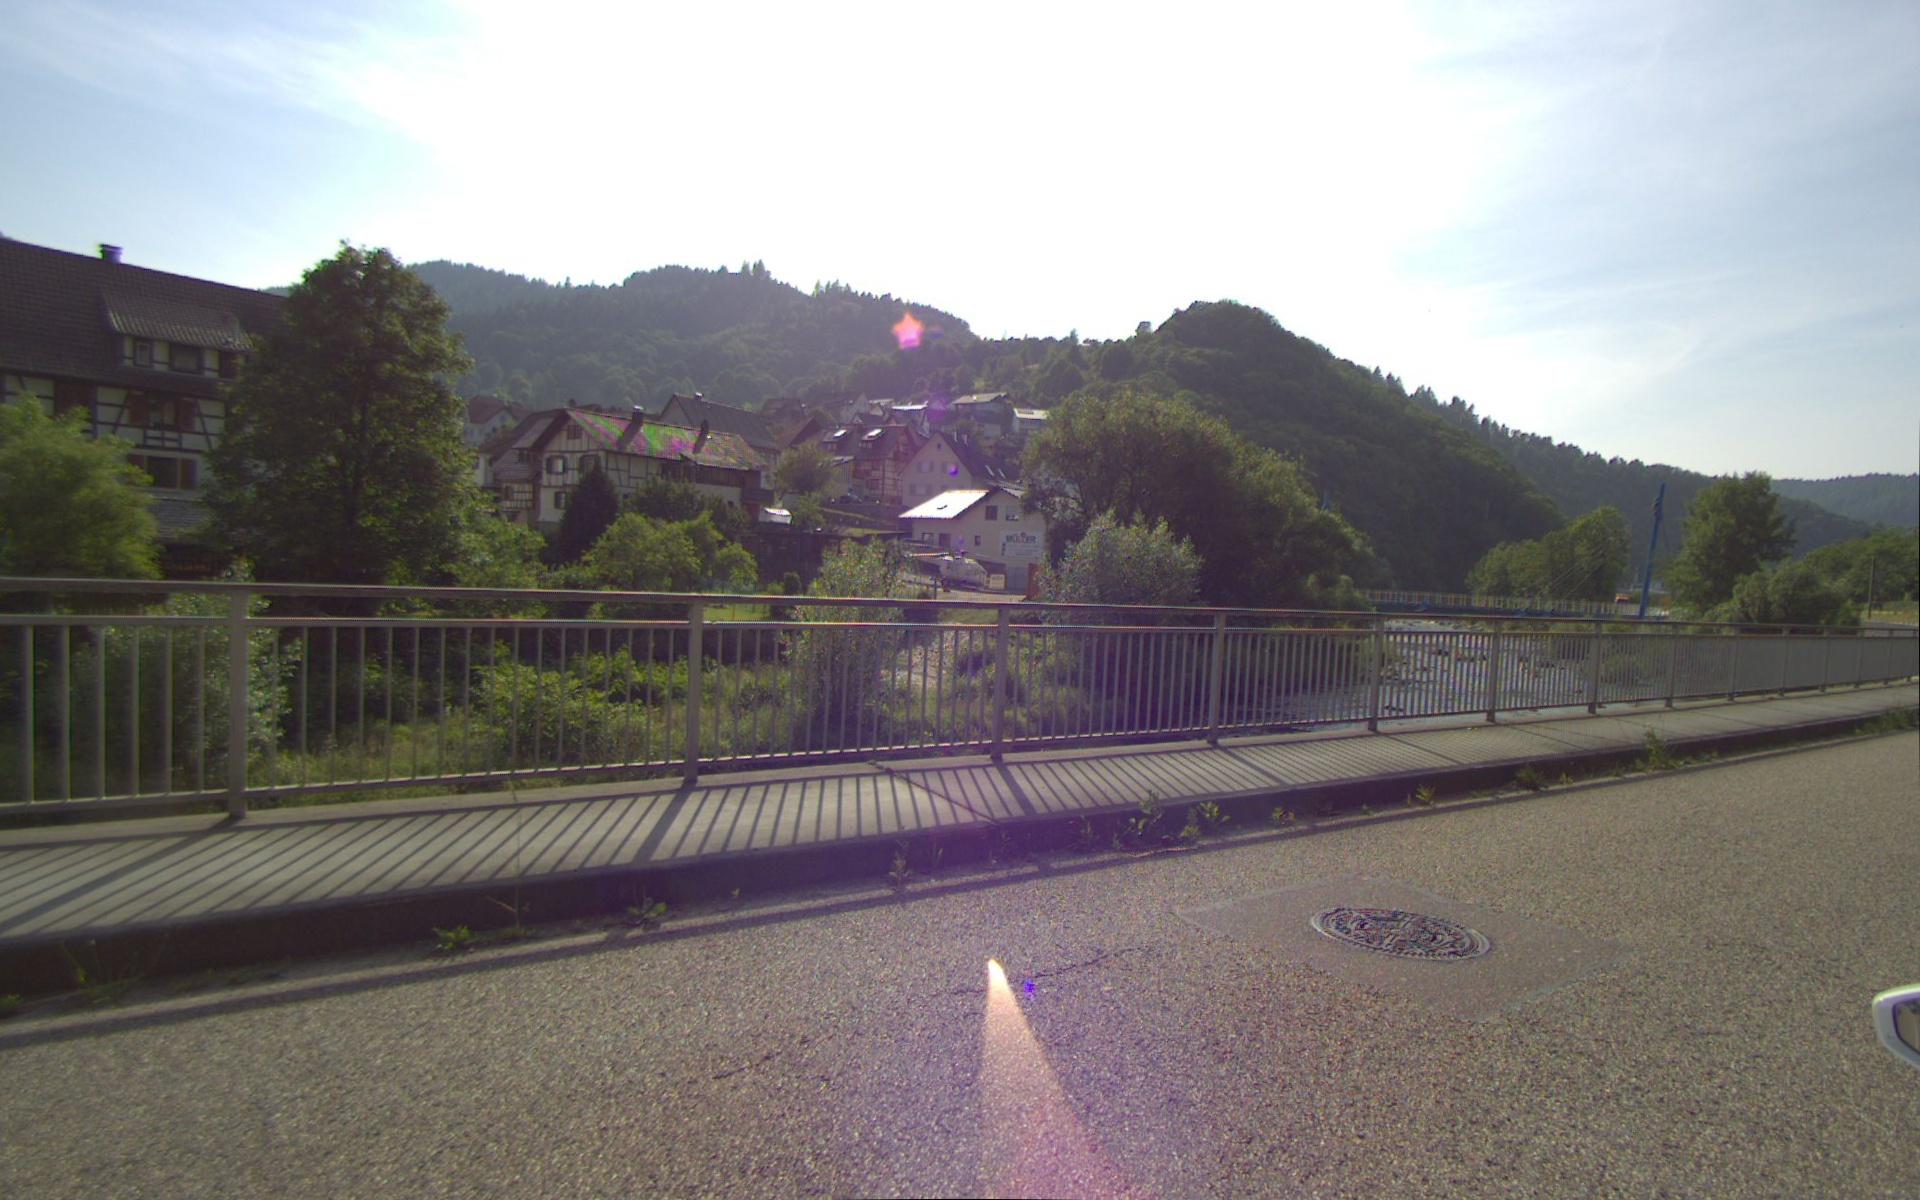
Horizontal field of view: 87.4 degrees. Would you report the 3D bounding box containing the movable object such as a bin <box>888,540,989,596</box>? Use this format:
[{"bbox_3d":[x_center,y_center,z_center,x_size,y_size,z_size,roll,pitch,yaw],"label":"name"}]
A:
[{"bbox_3d":[-1.829,-2.684,85.280,8.012,3.256,3.550,10,1,-2],"label":"movable object such as a bin"}]

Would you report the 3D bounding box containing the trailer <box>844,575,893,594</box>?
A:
[{"bbox_3d":[-6.672,-1.123,73.558,1.863,1.327,3.694,1,0,28],"label":"trailer"}]
